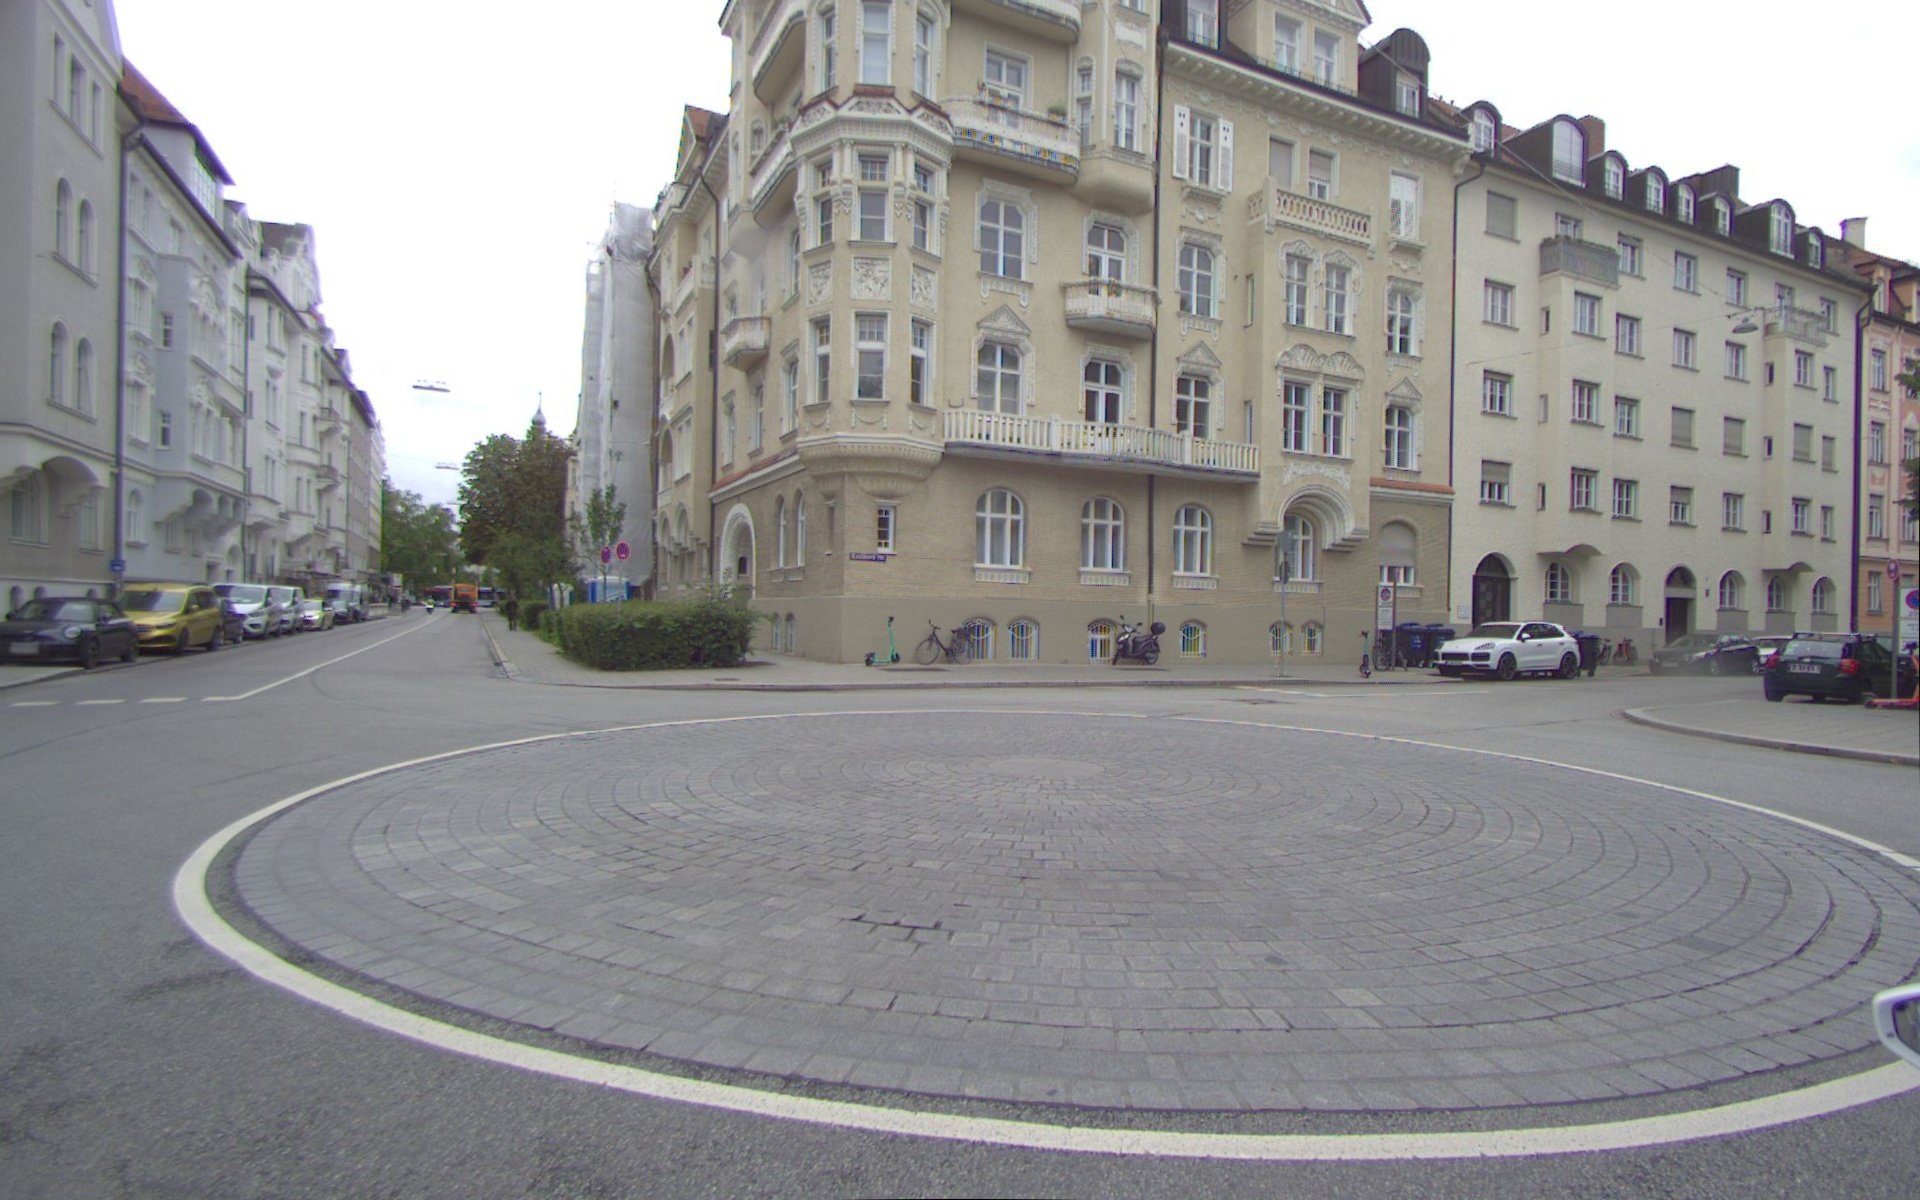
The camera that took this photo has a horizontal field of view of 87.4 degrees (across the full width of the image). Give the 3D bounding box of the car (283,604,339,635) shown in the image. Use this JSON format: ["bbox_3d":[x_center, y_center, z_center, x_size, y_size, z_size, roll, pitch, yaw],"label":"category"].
[{"bbox_3d":[-30.410,0.914,47.153,1.674,1.364,3.517,1,-1,-25],"label":"car"}]

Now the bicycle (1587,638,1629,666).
[{"bbox_3d":[25.148,2.019,38.991,1.807,1.063,0.560,1,-1,-28],"label":"bicycle"}]

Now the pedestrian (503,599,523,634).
[{"bbox_3d":[-22.743,0.821,51.088,0.865,1.749,1.045,1,-1,-26],"label":"pedestrian"}]

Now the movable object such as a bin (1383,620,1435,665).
[{"bbox_3d":[14.765,1.387,33.052,1.158,1.444,1.088,1,-1,-25],"label":"movable object such as a bin"}]

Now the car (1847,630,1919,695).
[{"bbox_3d":[23.813,1.509,24.767,4.187,1.525,1.784,2,-2,-32],"label":"car"}]

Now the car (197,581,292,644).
[{"bbox_3d":[-25.753,0.472,36.341,2.098,2.119,4.788,1,-1,-27],"label":"car"}]

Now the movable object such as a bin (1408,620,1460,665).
[{"bbox_3d":[15.832,1.402,33.557,1.158,1.444,1.088,1,-1,-25],"label":"movable object such as a bin"}]

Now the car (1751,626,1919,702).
[{"bbox_3d":[19.375,1.360,22.051,4.373,1.525,1.809,2,-2,-32],"label":"car"}]

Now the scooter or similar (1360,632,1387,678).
[{"bbox_3d":[11.285,1.483,27.442,0.458,1.209,1.216,1,0,13],"label":"scooter or similar"}]

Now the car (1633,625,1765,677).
[{"bbox_3d":[25.260,1.716,34.297,4.657,1.637,1.966,1,0,-30],"label":"car"}]

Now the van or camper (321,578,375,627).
[{"bbox_3d":[-39.393,0.131,64.820,1.972,2.952,6.402,2,0,-23],"label":"van or camper"}]

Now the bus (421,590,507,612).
[{"bbox_3d":[-71.964,0.179,146.341,2.667,2.937,14.562,1,-1,12],"label":"bus"}]

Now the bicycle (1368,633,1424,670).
[{"bbox_3d":[13.095,1.543,30.154,1.807,1.063,0.560,1,-1,-28],"label":"bicycle"}]

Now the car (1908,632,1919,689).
[{"bbox_3d":[27.621,1.645,27.246,4.069,1.525,1.784,2,-2,-32],"label":"car"}]

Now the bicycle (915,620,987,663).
[{"bbox_3d":[-0.230,1.072,25.956,1.807,1.063,0.560,1,-1,-28],"label":"bicycle"}]

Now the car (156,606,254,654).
[{"bbox_3d":[-23.140,0.902,30.907,1.674,1.364,3.517,1,-1,-25],"label":"car"}]

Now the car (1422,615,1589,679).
[{"bbox_3d":[16.022,1.346,29.460,4.779,1.723,1.968,1,0,-28],"label":"car"}]

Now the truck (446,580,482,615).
[{"bbox_3d":[-54.563,-0.182,110.638,3.147,3.671,8.680,1,-1,-24],"label":"truck"}]

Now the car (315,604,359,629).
[{"bbox_3d":[-36.235,0.969,58.477,1.674,1.364,3.518,1,-1,-24],"label":"car"}]

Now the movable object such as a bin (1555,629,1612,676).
[{"bbox_3d":[19.805,1.663,31.913,1.158,1.444,1.088,1,-1,-25],"label":"movable object such as a bin"}]

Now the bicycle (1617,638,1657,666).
[{"bbox_3d":[26.911,2.064,39.924,1.807,1.063,0.560,1,-1,-28],"label":"bicycle"}]

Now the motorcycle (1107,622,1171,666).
[{"bbox_3d":[5.090,1.242,28.523,1.807,1.192,0.596,1,-1,-28],"label":"motorcycle"}]

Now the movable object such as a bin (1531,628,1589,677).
[{"bbox_3d":[18.749,1.630,31.398,1.158,1.444,1.088,1,-1,-25],"label":"movable object such as a bin"}]

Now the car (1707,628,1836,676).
[{"bbox_3d":[29.528,1.881,36.539,4.349,1.602,1.969,1,0,-26],"label":"car"}]

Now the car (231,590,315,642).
[{"bbox_3d":[-28.459,0.677,41.780,2.096,2.020,4.792,1,-1,-25],"label":"car"}]

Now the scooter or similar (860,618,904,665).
[{"bbox_3d":[-1.922,1.010,24.814,0.459,1.130,1.213,1,0,31],"label":"scooter or similar"}]

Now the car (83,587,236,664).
[{"bbox_3d":[-20.869,0.666,26.401,1.998,1.863,4.114,1,-1,-22],"label":"car"}]

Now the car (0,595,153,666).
[{"bbox_3d":[-18.863,0.631,21.389,1.674,1.364,3.658,1,-1,-24],"label":"car"}]

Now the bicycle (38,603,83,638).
[{"bbox_3d":[-28.246,0.631,31.570,0.485,1.063,1.820,1,-1,-23],"label":"bicycle"}]

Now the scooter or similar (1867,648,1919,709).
[{"bbox_3d":[17.845,1.478,18.988,0.986,1.103,0.389,1,0,37],"label":"scooter or similar"}]
